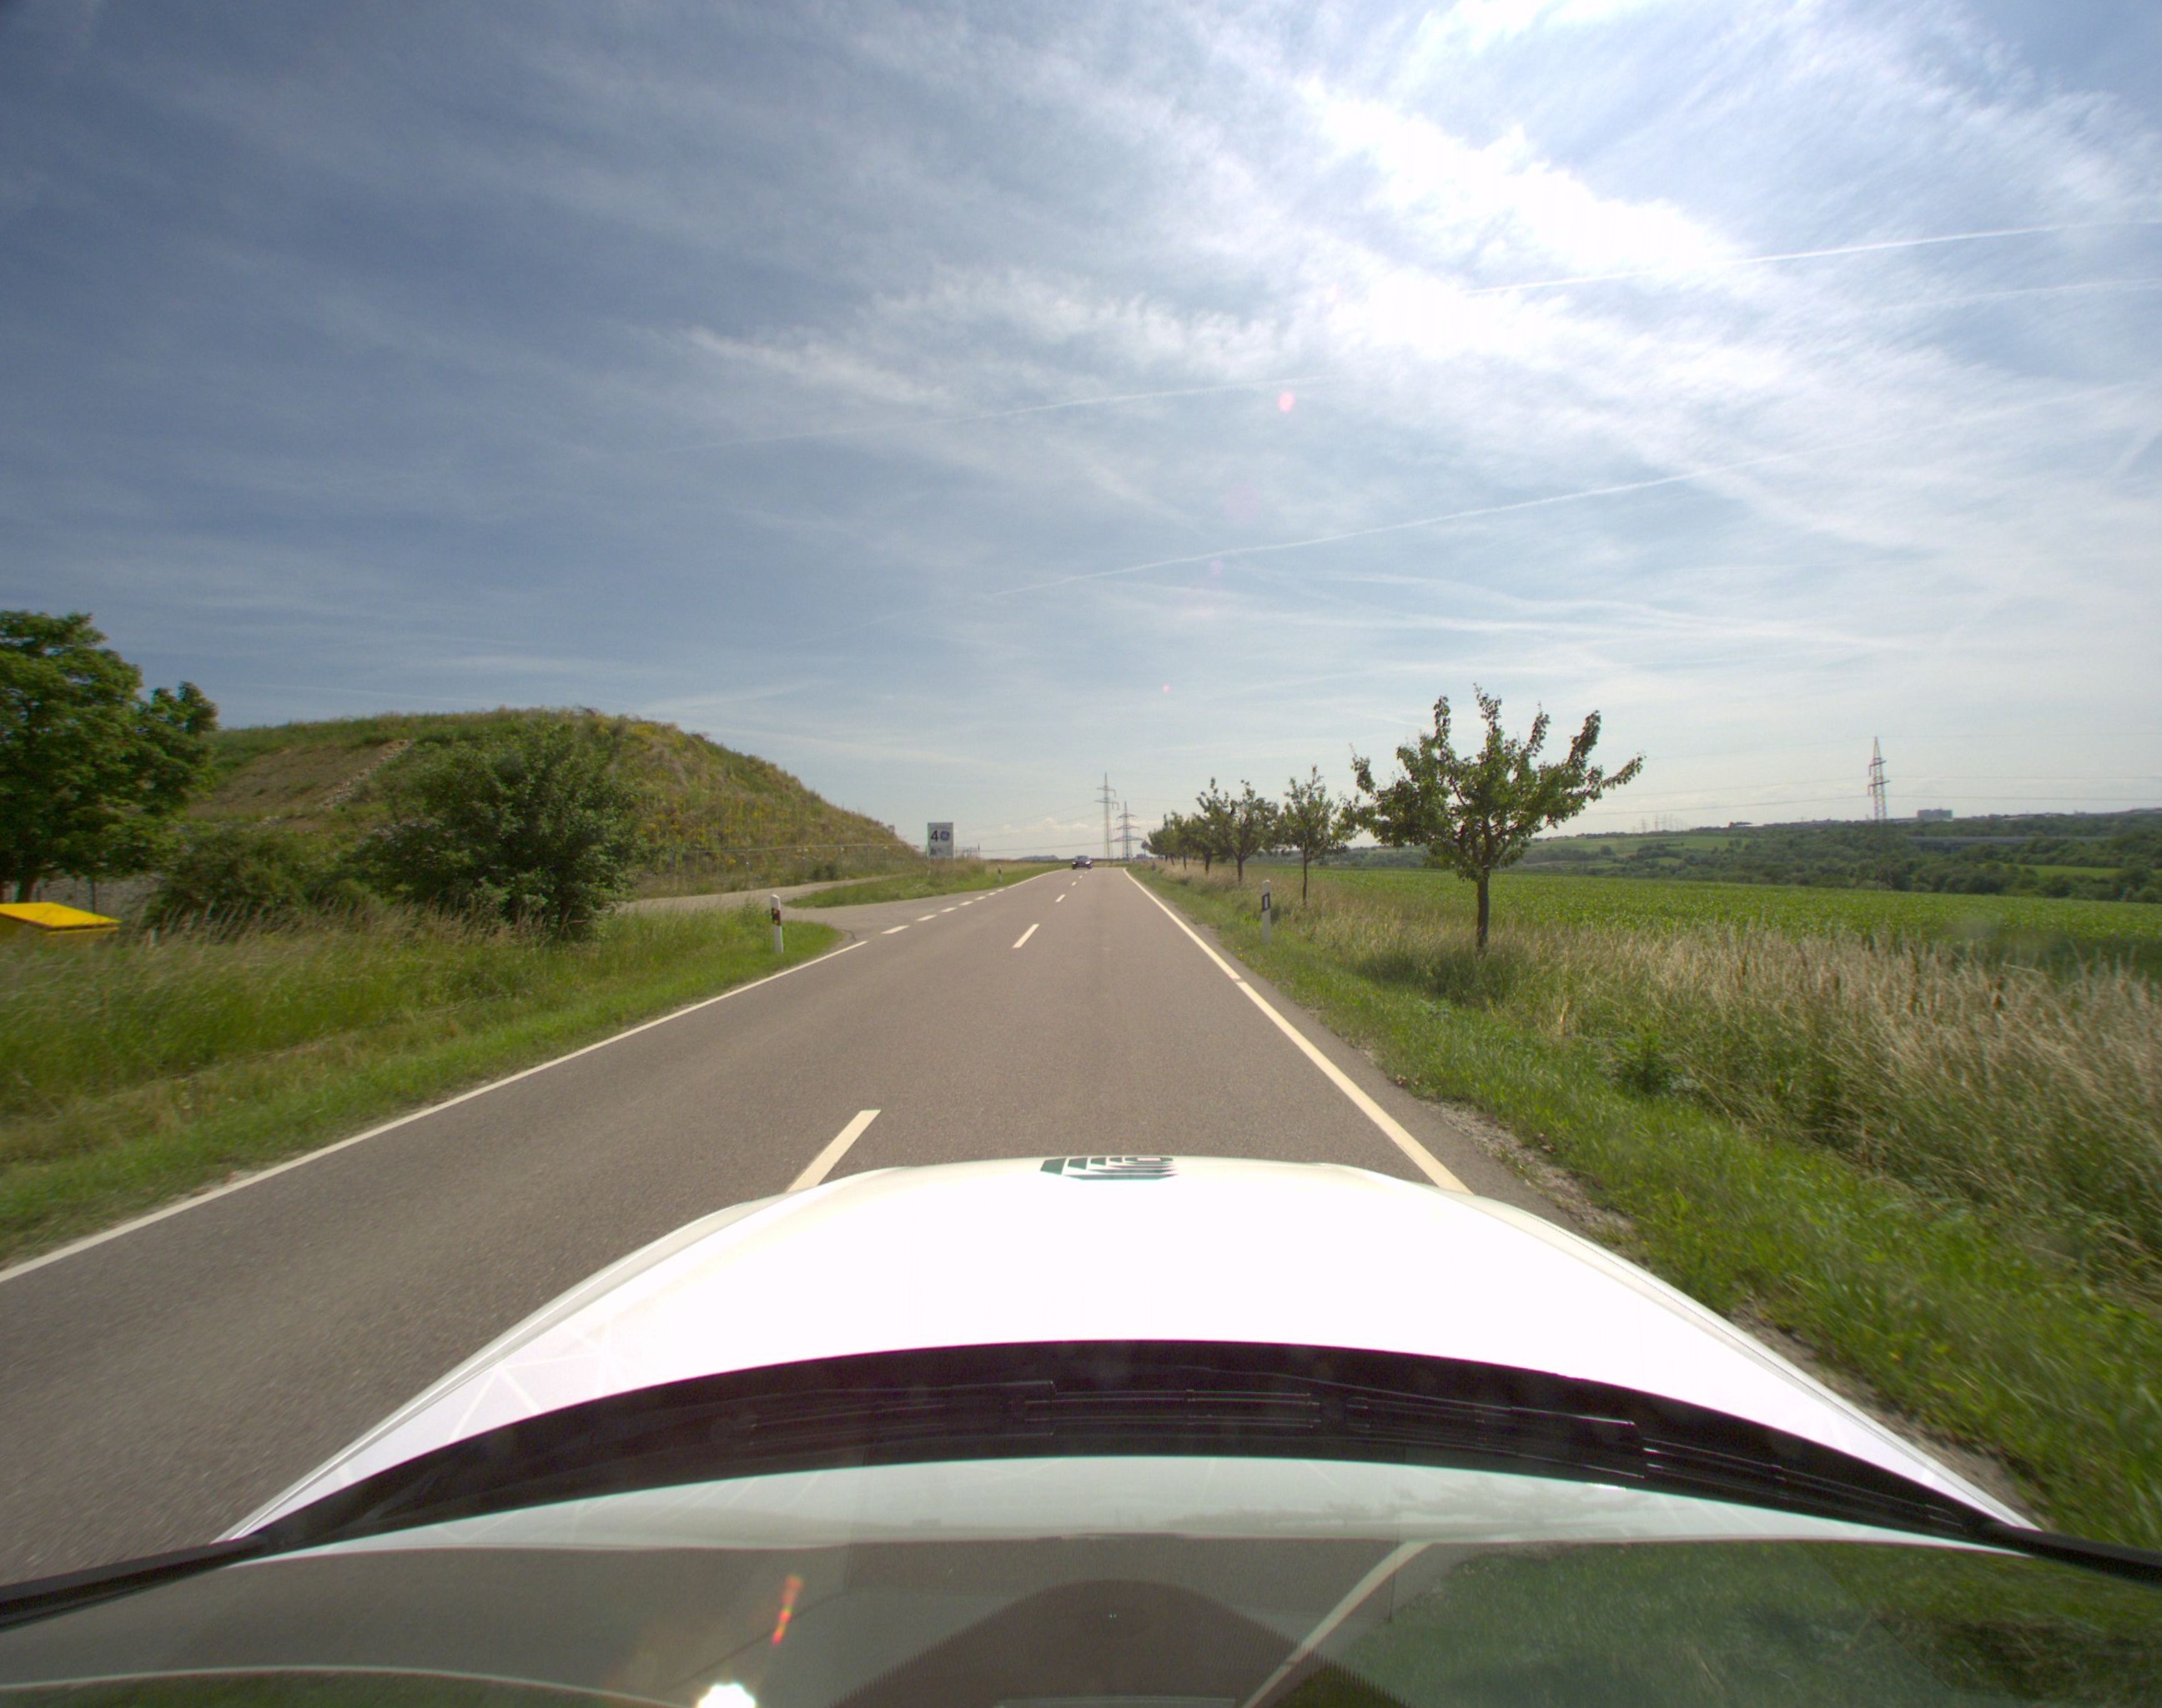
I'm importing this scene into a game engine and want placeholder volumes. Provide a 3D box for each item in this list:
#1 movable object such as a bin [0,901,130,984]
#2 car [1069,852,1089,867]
[{"bbox_3d":[-28.195,2.267,21.005,4.280,1.915,2.163,0,0,-12],"label":"movable object such as a bin"},{"bbox_3d":[-0.155,0.569,81.852,1.816,1.410,4.002,-1,0,2],"label":"car"}]
